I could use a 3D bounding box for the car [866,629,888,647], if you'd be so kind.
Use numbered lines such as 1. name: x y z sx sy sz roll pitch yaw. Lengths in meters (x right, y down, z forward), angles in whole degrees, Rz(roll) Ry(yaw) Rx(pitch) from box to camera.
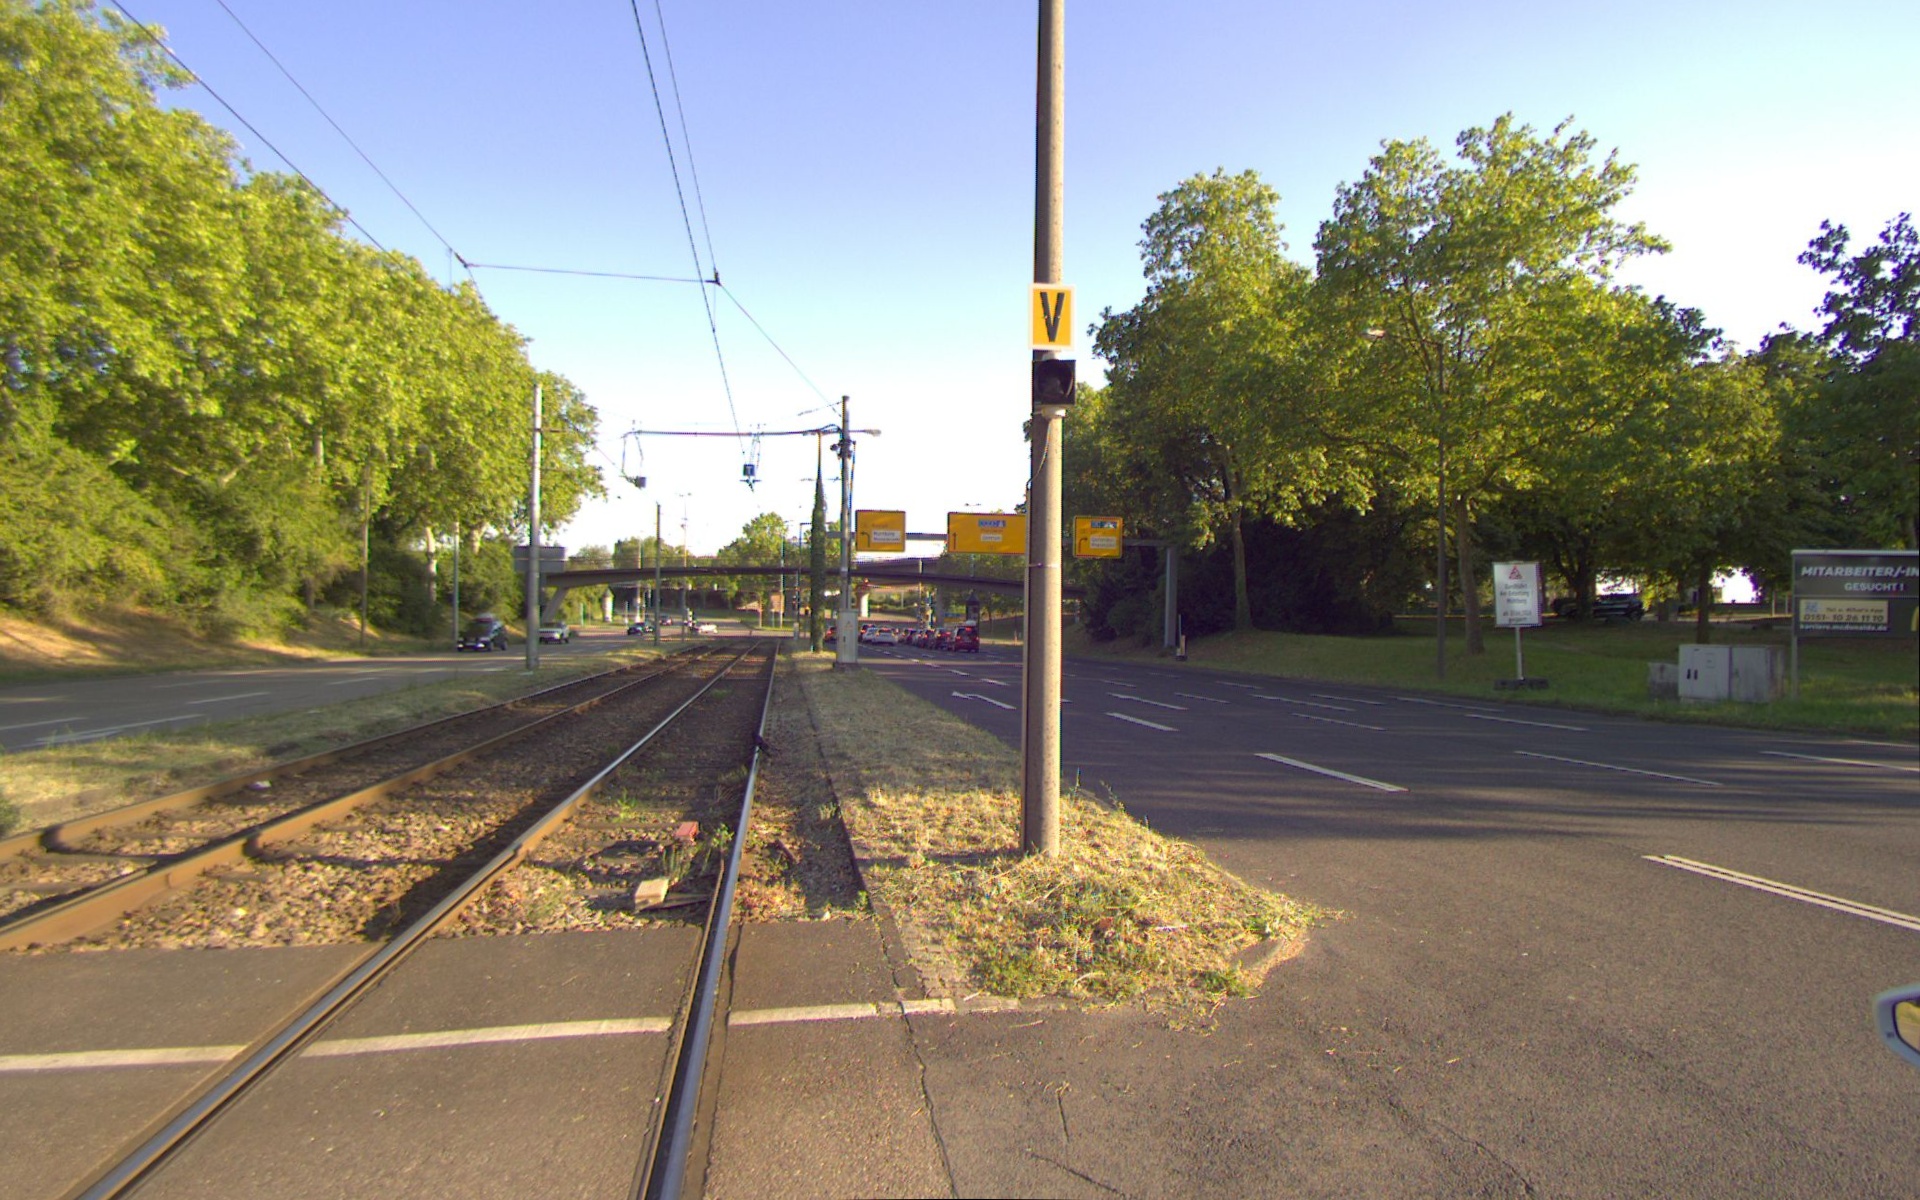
1. car: -7.621 3.471 91.507 1.715 1.451 4.406 3 -1 -8

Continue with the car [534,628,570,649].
1. car: -30.277 2.828 74.664 1.967 1.459 4.178 0 -1 -15

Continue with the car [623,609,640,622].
1. car: -49.306 2.364 150.818 1.851 1.795 3.992 3 -1 -11

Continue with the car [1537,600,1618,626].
1. car: 38.563 0.845 62.777 3.919 1.572 1.809 0 -1 5

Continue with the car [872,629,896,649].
1. car: -6.449 3.260 84.696 1.638 1.586 4.184 0 -1 -10

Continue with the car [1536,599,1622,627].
1. car: 35.446 0.743 57.563 3.923 1.572 1.807 0 -1 -4

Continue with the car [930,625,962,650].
1. car: -1.046 2.736 73.802 1.766 1.773 4.234 0 -1 -10

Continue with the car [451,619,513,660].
1. car: -26.678 2.199 56.191 1.963 2.191 4.185 0 -1 -9

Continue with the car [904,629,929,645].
1. car: -4.063 3.440 93.331 1.766 1.401 4.469 0 -1 -10

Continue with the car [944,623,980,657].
1. car: 0.080 2.661 67.682 1.766 2.133 3.993 0 -1 -10

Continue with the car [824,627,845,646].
1. car: -10.896 3.164 87.135 1.638 1.586 3.993 0 -1 -10

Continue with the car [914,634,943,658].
1. car: -2.534 3.658 80.047 1.766 1.773 3.993 0 -1 -10

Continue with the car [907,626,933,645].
1. car: -3.513 3.064 87.267 1.766 1.501 3.994 0 -1 -10
